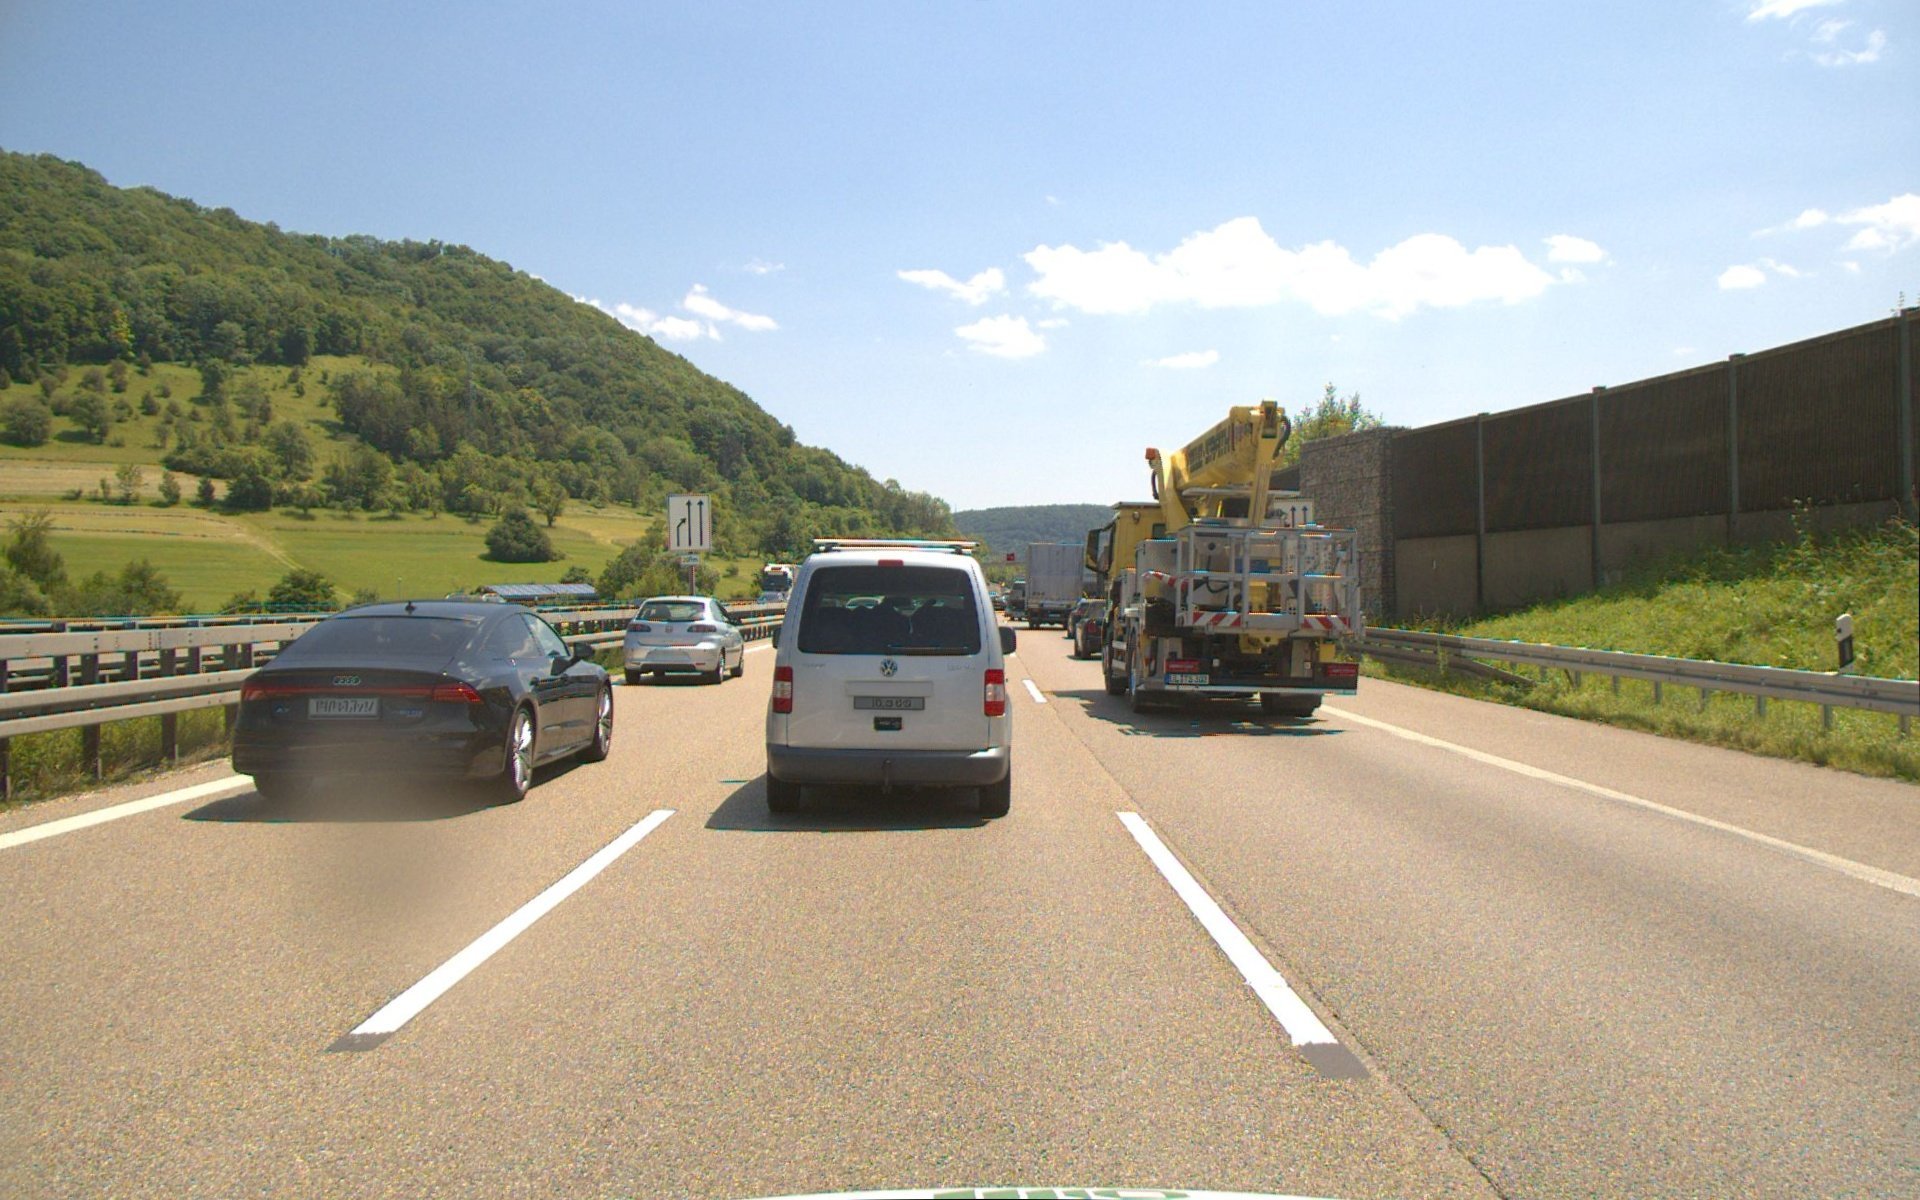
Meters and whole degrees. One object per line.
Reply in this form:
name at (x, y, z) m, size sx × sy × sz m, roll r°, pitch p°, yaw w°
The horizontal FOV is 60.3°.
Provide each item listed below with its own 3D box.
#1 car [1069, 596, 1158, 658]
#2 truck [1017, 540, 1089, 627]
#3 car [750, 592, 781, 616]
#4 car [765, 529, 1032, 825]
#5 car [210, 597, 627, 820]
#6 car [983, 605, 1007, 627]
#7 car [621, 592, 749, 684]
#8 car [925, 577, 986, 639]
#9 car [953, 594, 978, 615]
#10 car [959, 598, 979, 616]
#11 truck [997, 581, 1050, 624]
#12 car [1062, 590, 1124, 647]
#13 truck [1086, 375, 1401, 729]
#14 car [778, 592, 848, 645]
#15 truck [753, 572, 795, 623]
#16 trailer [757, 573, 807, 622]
car at (3.776, 0.633, 41.268) m, size 1.750 × 1.484 × 3.769 m, roll 0°, pitch 0°, yaw -2°
truck at (4.376, -0.711, 79.379) m, size 2.880 × 3.890 × 8.235 m, roll 1°, pitch 0°, yaw -1°
car at (-13.668, 0.254, 116.342) m, size 1.812 × 1.638 × 4.077 m, roll 0°, pitch 0°, yaw -1°
car at (-0.459, 0.489, 12.654) m, size 1.721 × 1.900 × 3.998 m, roll 0°, pitch 0°, yaw -2°
car at (-3.958, 0.690, 13.060) m, size 1.764 × 1.415 × 4.968 m, roll 0°, pitch 0°, yaw -1°
car at (2.882, 1.293, 138.309) m, size 1.952 × 1.779 × 4.000 m, roll 1°, pitch 0°, yaw 1°
car at (-4.665, 0.604, 28.489) m, size 1.661 × 1.470 × 3.861 m, roll 0°, pitch 0°, yaw -2°
car at (-0.184, 0.265, 55.861) m, size 1.953 × 2.010 × 3.998 m, roll 0°, pitch 0°, yaw -2°
car at (0.501, 0.435, 149.886) m, size 2.072 × 1.859 × 3.998 m, roll 1°, pitch 0°, yaw -2°
car at (0.878, 0.701, 170.122) m, size 1.953 × 1.837 × 3.999 m, roll 1°, pitch 0°, yaw -1°
truck at (3.991, 0.139, 102.498) m, size 2.339 × 2.585 × 5.944 m, roll 0°, pitch 0°, yaw 11°
car at (4.914, 0.664, 61.673) m, size 1.953 × 2.049 × 3.999 m, roll 0°, pitch 0°, yaw -1°
truck at (3.552, -0.556, 23.131) m, size 2.649 × 4.011 × 8.718 m, roll 0°, pitch 0°, yaw -2°
car at (-4.404, 0.536, 50.073) m, size 1.886 × 1.525 × 3.998 m, roll 1°, pitch 0°, yaw -2°
truck at (-16.159, -0.187, 144.147) m, size 2.740 × 4.306 × 7.231 m, roll 1°, pitch 0°, yaw 1°
trailer at (-16.067, -0.166, 150.108) m, size 2.796 × 4.264 × 13.616 m, roll 1°, pitch 0°, yaw 1°
